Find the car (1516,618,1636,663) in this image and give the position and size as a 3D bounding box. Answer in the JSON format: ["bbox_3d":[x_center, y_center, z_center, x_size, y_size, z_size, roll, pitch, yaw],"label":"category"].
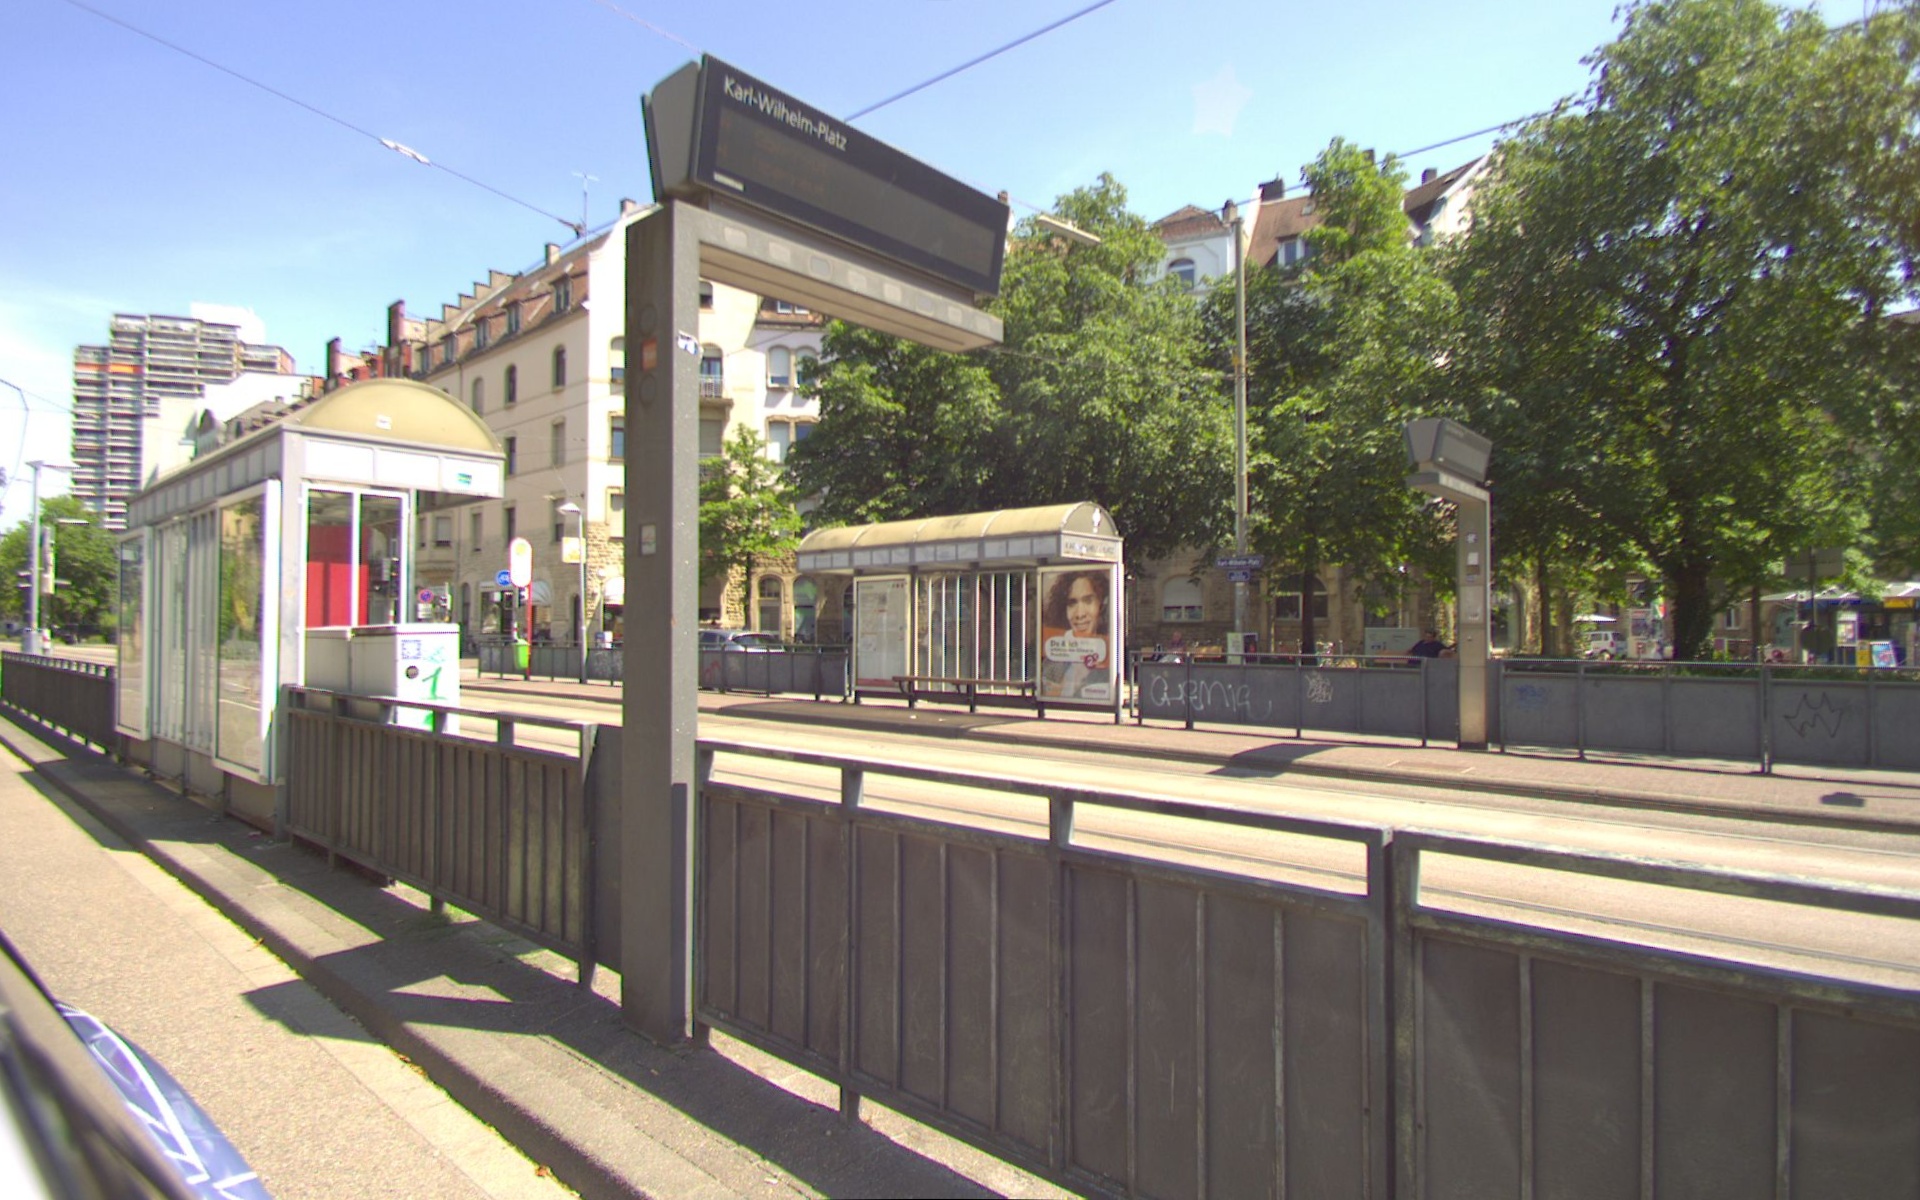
[{"bbox_3d":[26.726,1.699,44.006,1.966,1.803,4.011,-1,0,-33],"label":"car"}]

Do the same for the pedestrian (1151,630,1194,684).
[{"bbox_3d":[5.101,1.354,24.312,0.930,1.253,0.860,-1,0,17],"label":"pedestrian"}]

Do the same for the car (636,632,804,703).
[{"bbox_3d":[-5.590,1.487,23.358,3.998,1.404,1.789,-1,0,41],"label":"car"}]

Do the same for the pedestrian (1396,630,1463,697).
[{"bbox_3d":[9.290,1.237,20.037,0.852,1.253,0.939,-1,0,-43],"label":"pedestrian"}]

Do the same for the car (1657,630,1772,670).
[{"bbox_3d":[35.796,2.343,48.099,1.736,1.721,3.998,-1,0,-33],"label":"car"}]

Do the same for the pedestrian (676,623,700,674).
[{"bbox_3d":[-8.876,1.570,33.069,0.473,1.659,0.586,-2,-3,41],"label":"pedestrian"}]

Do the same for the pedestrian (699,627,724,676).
[{"bbox_3d":[-7.975,1.657,32.491,0.473,1.563,0.586,-2,-3,39],"label":"pedestrian"}]
